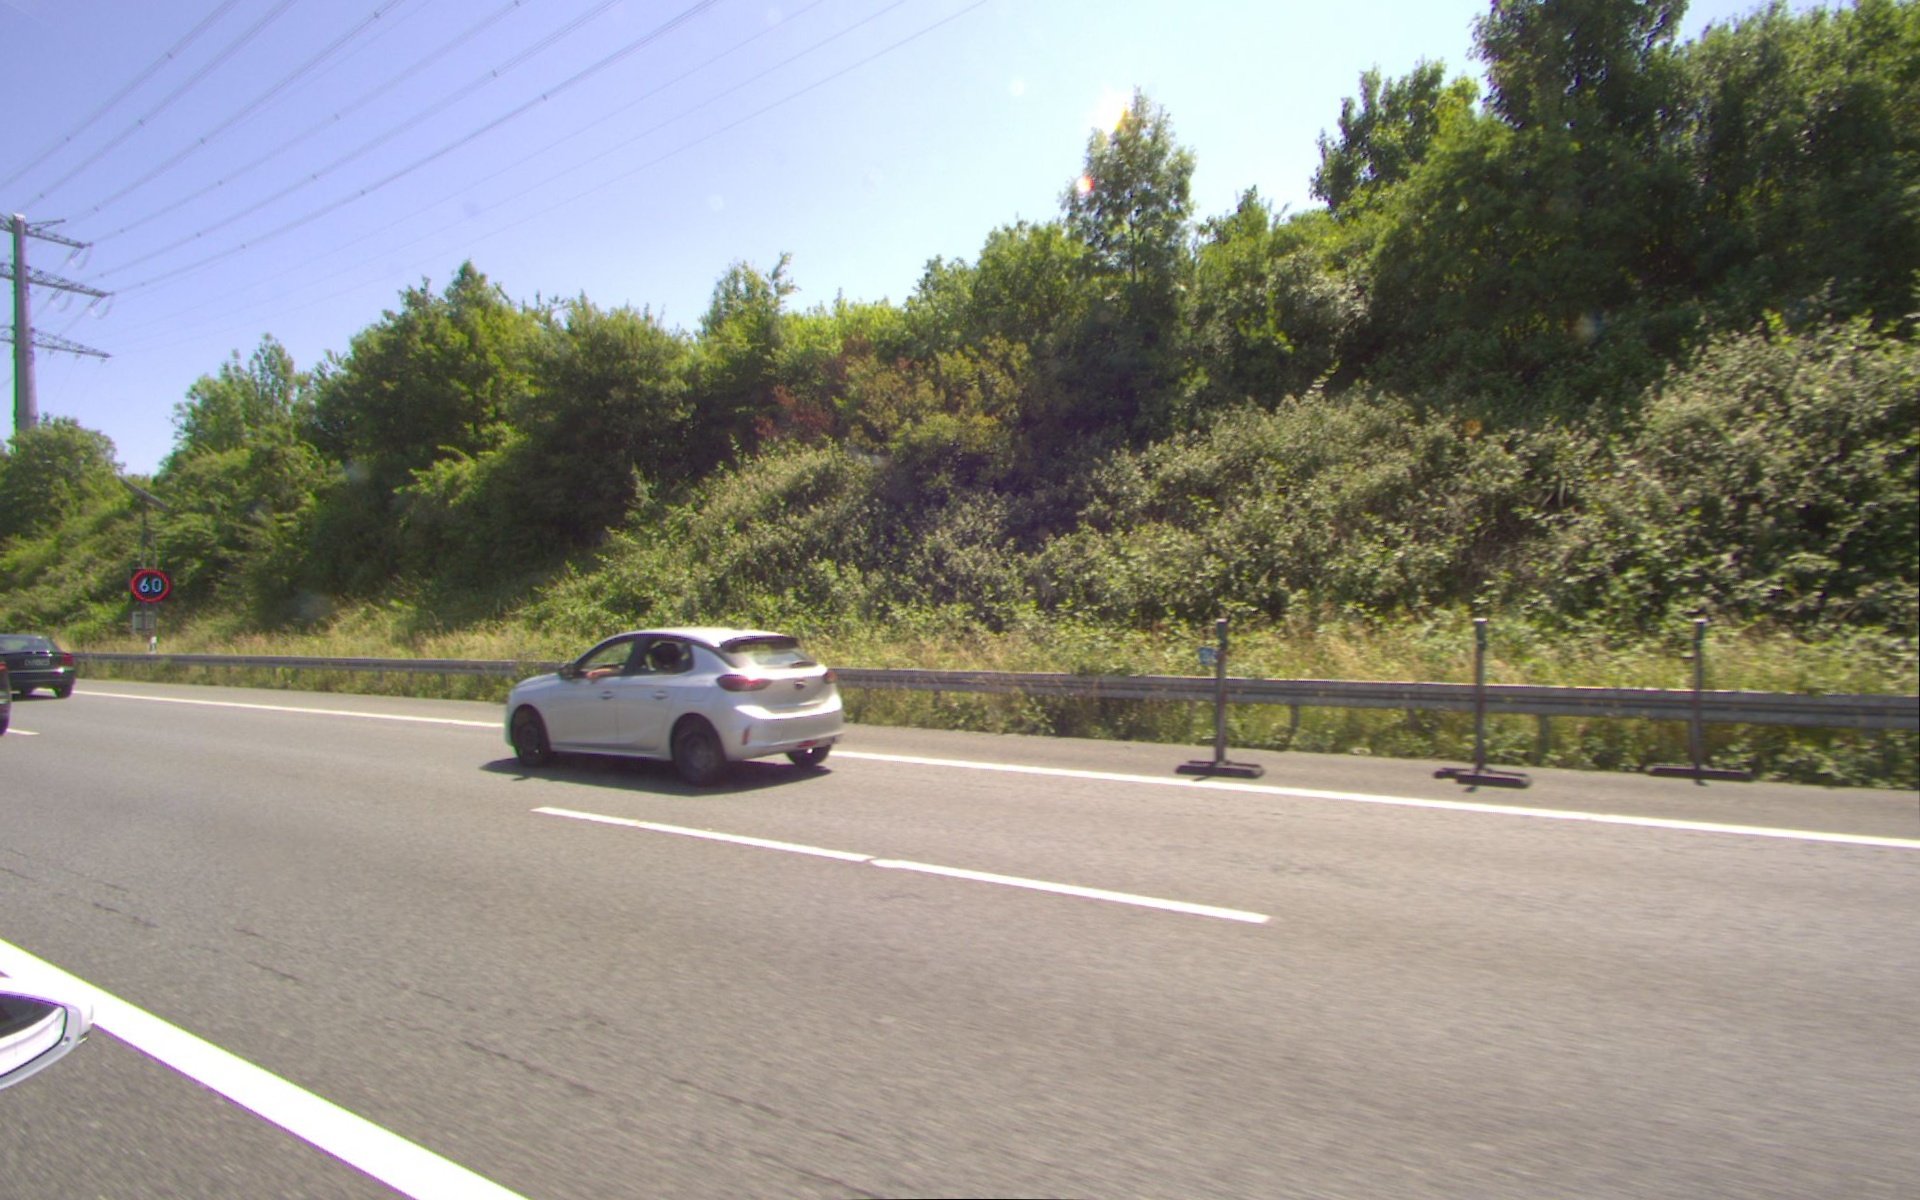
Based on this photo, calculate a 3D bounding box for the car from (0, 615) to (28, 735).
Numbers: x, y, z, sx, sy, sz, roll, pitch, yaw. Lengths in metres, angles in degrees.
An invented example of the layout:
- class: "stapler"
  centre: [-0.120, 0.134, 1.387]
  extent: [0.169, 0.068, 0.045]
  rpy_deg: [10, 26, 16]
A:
- class: "car"
  centre: [-15.273, 1.032, 14.282]
  extent: [4.367, 1.635, 1.825]
  rpy_deg: [-1, -1, 32]

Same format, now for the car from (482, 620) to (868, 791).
- class: "car"
  centre: [-3.066, 0.965, 10.544]
  extent: [3.957, 1.489, 1.738]
  rpy_deg: [-1, -1, 32]

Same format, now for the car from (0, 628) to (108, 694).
- class: "car"
  centre: [-21.381, 1.338, 22.812]
  extent: [4.239, 1.395, 1.732]
  rpy_deg: [-1, -2, 31]
